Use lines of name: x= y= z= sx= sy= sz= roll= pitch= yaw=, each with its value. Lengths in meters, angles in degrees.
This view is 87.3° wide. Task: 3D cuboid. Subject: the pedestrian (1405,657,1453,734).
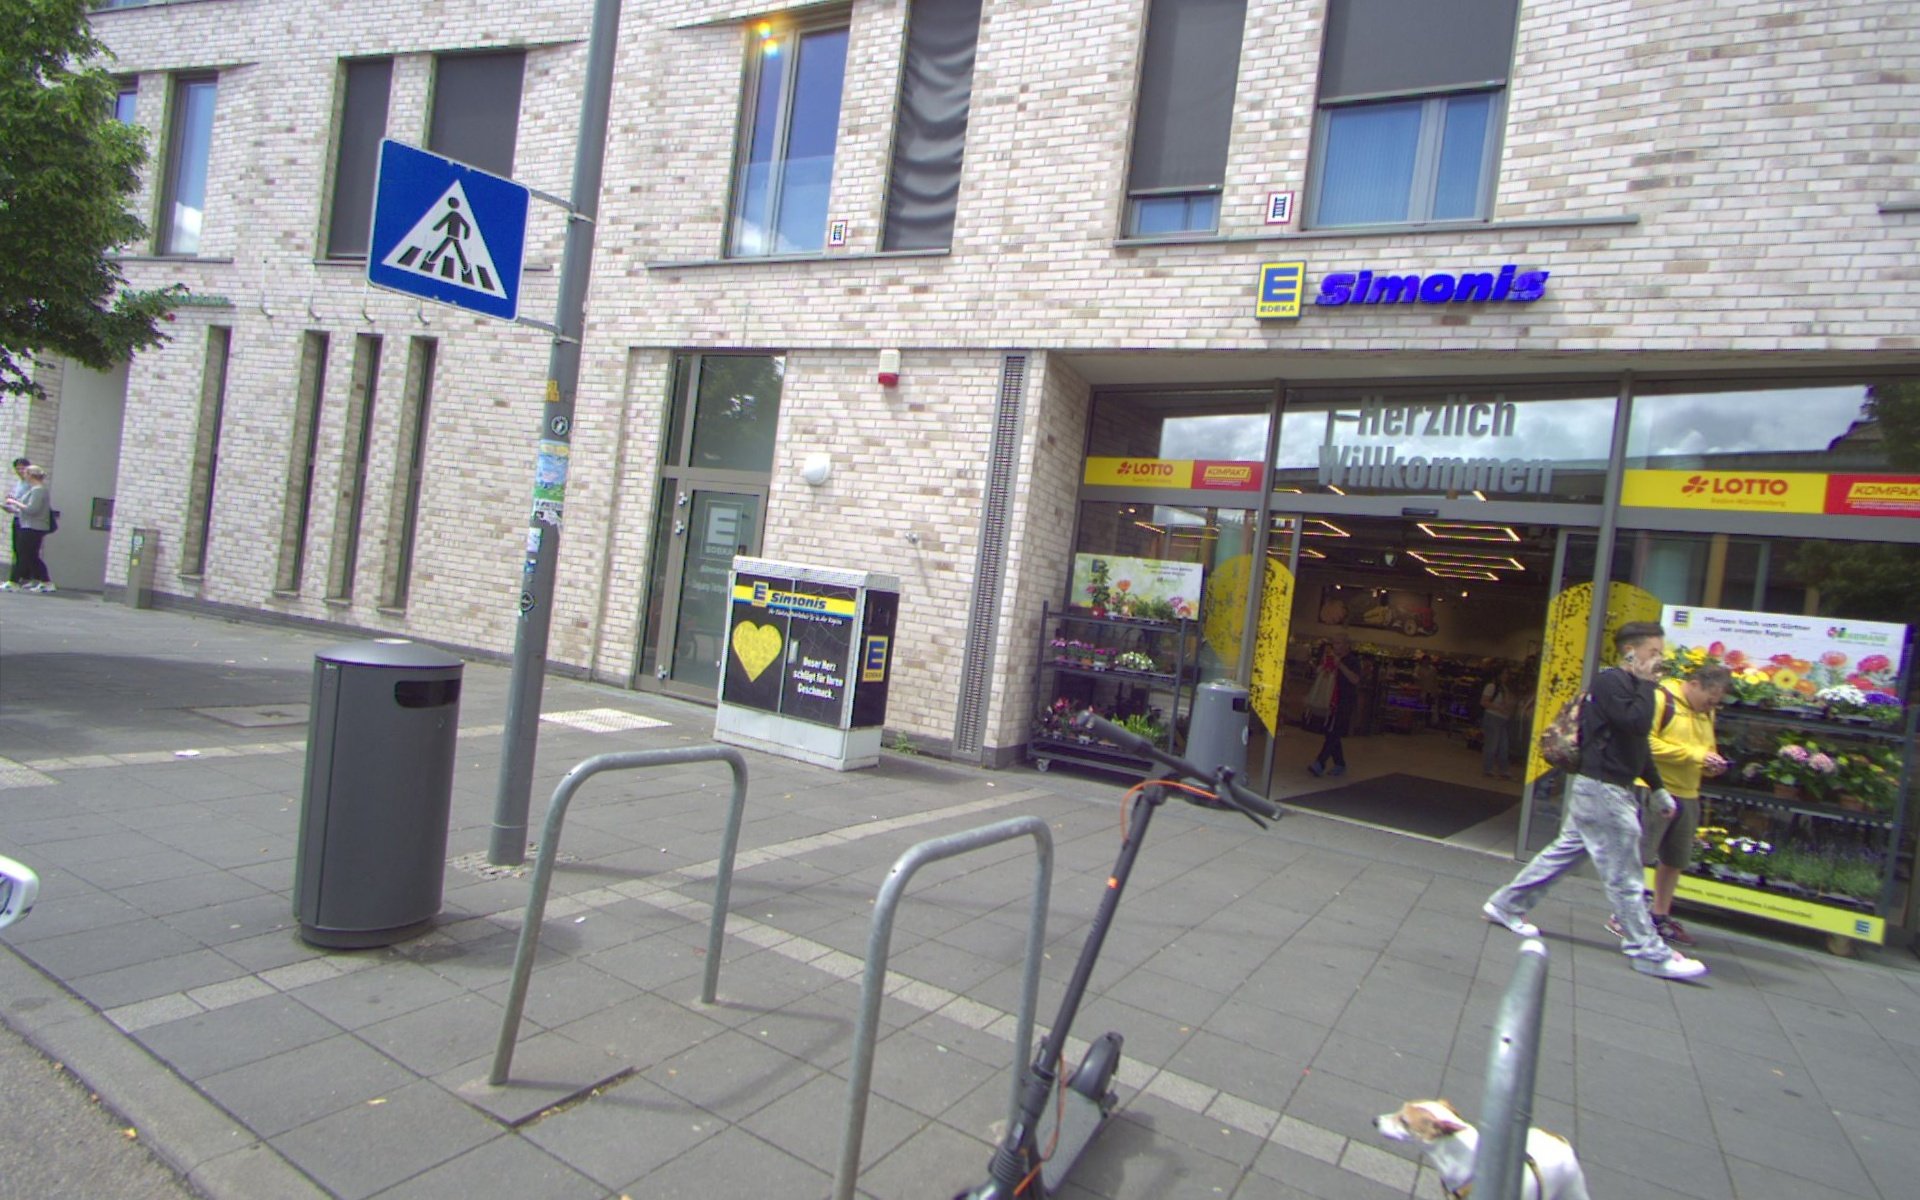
pedestrian: x=10.279 y=2.080 z=22.035 sx=0.697 sy=1.580 sz=0.681 roll=7 pitch=1 yaw=33

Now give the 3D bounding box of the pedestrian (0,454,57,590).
pedestrian: x=-13.118 y=-1.080 z=13.826 sx=0.612 sy=1.789 sz=0.737 roll=6 pitch=1 yaw=20

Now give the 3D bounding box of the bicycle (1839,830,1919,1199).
bicycle: x=2.072 y=1.124 z=1.544 sx=0.744 sy=1.146 sz=1.823 roll=7 pitch=1 yaw=32

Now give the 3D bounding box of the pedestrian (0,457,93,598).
pedestrian: x=-12.451 y=-0.966 z=13.565 sx=0.743 sy=1.789 sz=0.735 roll=6 pitch=1 yaw=12

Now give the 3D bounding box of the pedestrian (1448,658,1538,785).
pedestrian: x=7.243 y=1.634 z=13.706 sx=0.695 sy=1.580 sz=0.683 roll=7 pitch=1 yaw=3

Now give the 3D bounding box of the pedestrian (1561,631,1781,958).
pedestrian: x=4.063 y=1.083 z=5.775 sx=0.651 sy=1.713 sz=0.628 roll=6 pitch=1 yaw=-24

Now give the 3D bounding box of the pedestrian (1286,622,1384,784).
pedestrian: x=4.256 y=1.151 z=11.411 sx=0.651 sy=1.713 sz=0.679 roll=7 pitch=1 yaw=43

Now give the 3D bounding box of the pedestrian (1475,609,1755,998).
pedestrian: x=3.415 y=0.997 z=5.330 sx=1.001 sy=1.763 sz=0.658 roll=7 pitch=1 yaw=32

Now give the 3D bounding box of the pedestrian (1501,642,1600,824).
pedestrian: x=6.176 y=1.367 z=10.525 sx=0.728 sy=1.746 sz=0.661 roll=5 pitch=-1 yaw=33

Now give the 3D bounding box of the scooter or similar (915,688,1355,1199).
scooter or similar: x=0.466 y=0.873 z=2.317 sx=0.486 sy=1.265 sz=1.197 roll=7 pitch=1 yaw=32
